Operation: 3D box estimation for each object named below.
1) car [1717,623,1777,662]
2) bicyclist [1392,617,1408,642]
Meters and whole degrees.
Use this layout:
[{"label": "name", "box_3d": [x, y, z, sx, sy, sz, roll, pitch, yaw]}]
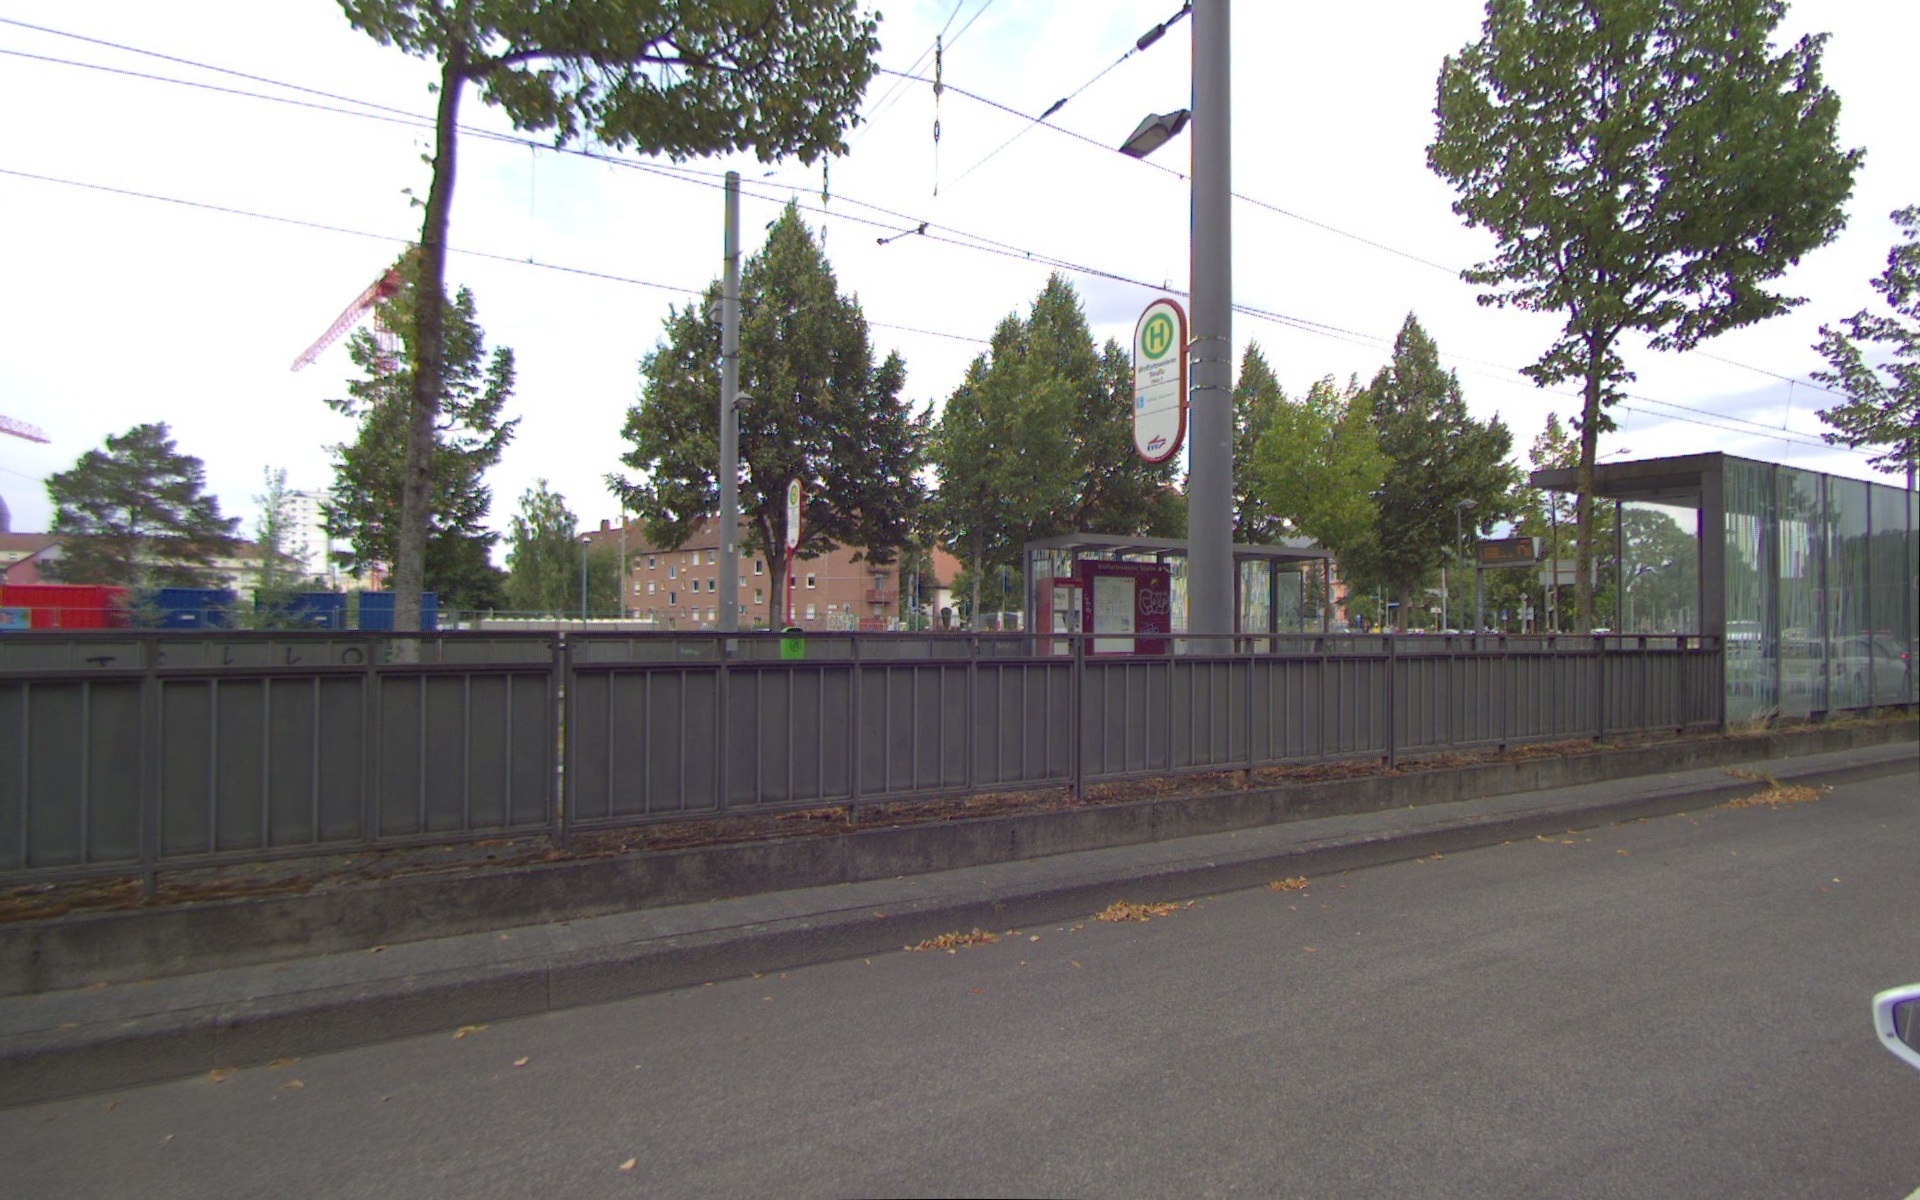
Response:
[{"label": "car", "box_3d": [34.575, 1.839, 44.069, 1.970, 1.639, 4.365, -1, -2, 39]}, {"label": "bicyclist", "box_3d": [28.180, 1.865, 64.344, 0.873, 1.583, 0.750, 0, -1, 18]}]
